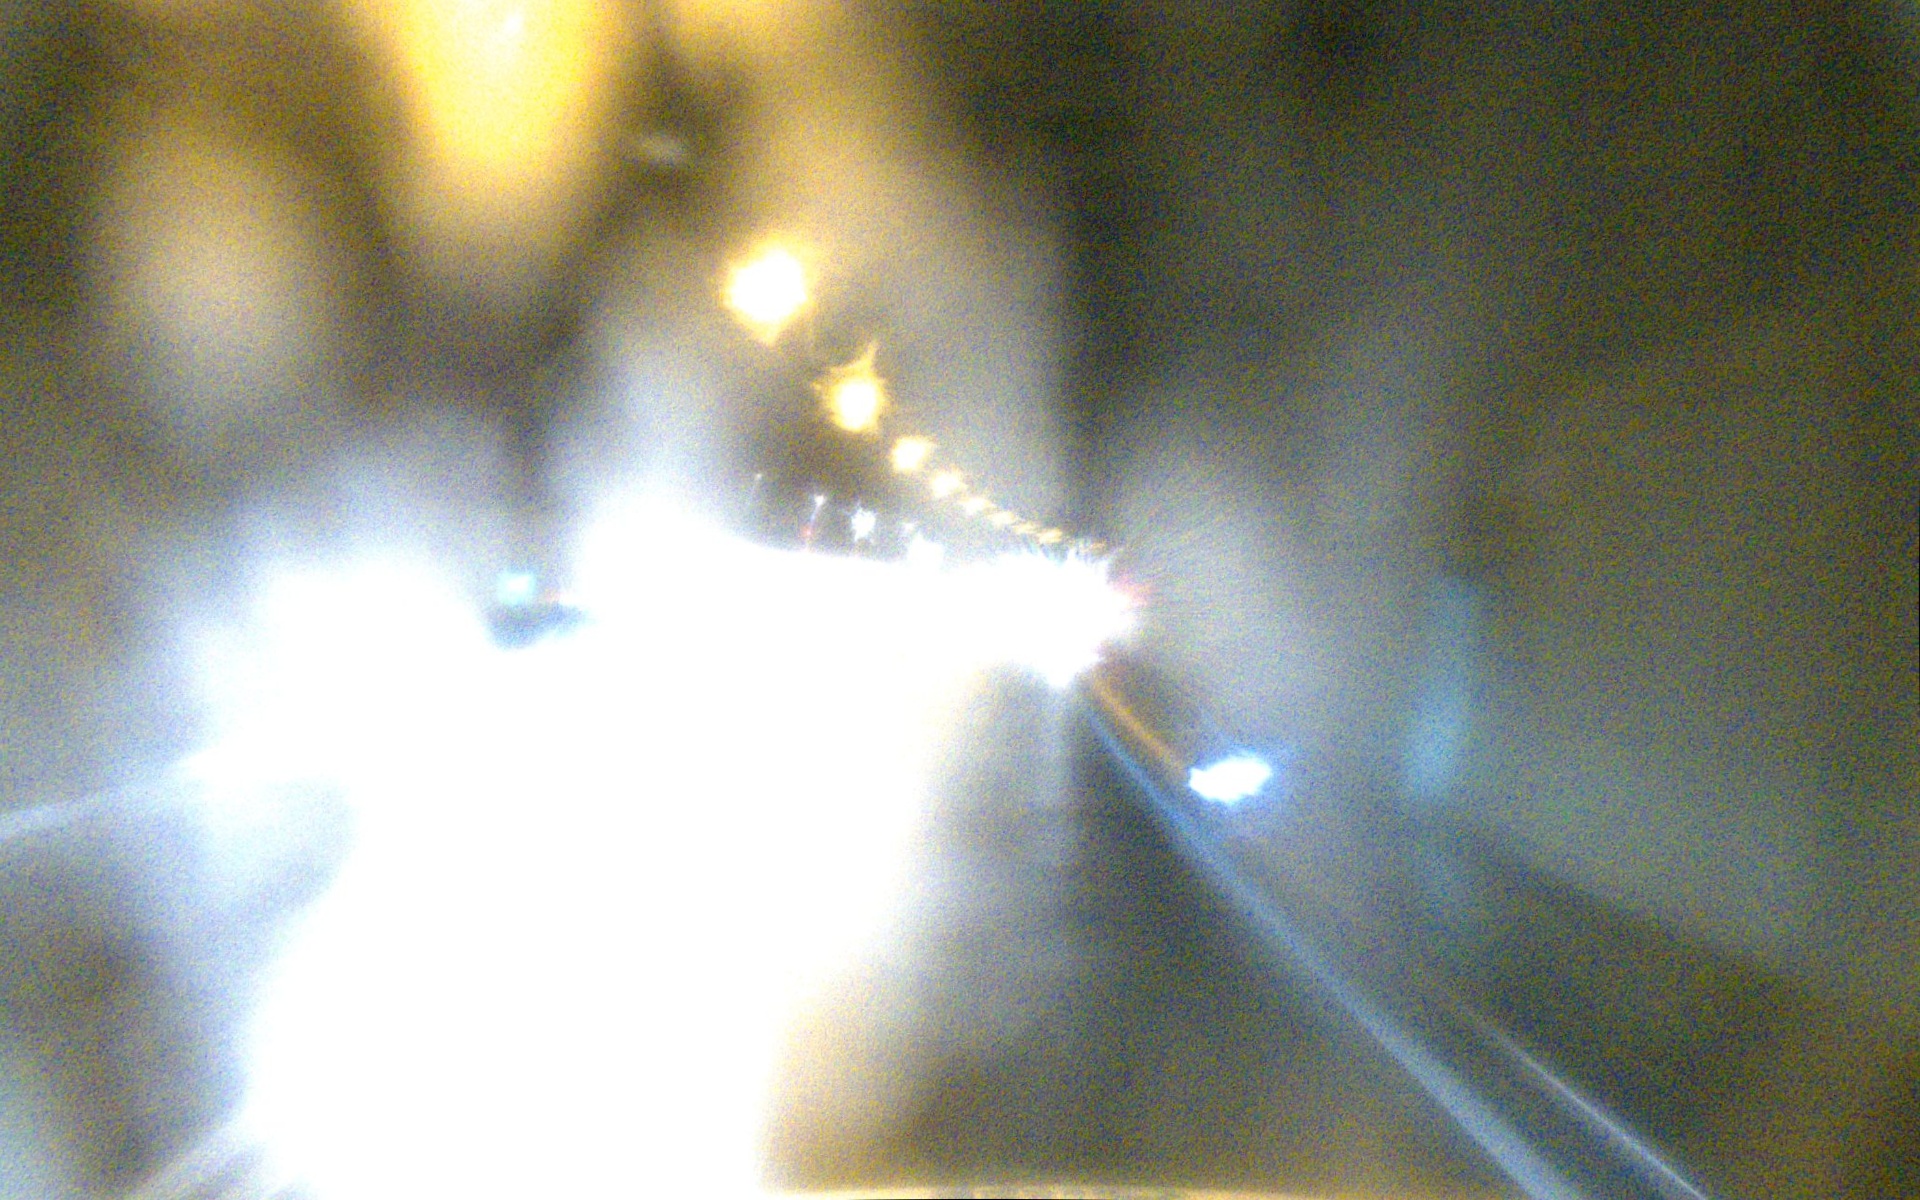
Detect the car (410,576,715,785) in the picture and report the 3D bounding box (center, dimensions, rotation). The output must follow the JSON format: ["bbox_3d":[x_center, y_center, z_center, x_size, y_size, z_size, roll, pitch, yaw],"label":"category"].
[{"bbox_3d":[-3.293,0.601,14.484,1.674,1.536,4.079,1,0,0],"label":"car"}]

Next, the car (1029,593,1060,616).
[{"bbox_3d":[5.397,0.264,105.275,1.676,1.402,4.588,2,0,5],"label":"car"}]

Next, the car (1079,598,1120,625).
[{"bbox_3d":[9.040,0.717,107.077,1.951,1.679,4.003,1,0,14],"label":"car"}]
